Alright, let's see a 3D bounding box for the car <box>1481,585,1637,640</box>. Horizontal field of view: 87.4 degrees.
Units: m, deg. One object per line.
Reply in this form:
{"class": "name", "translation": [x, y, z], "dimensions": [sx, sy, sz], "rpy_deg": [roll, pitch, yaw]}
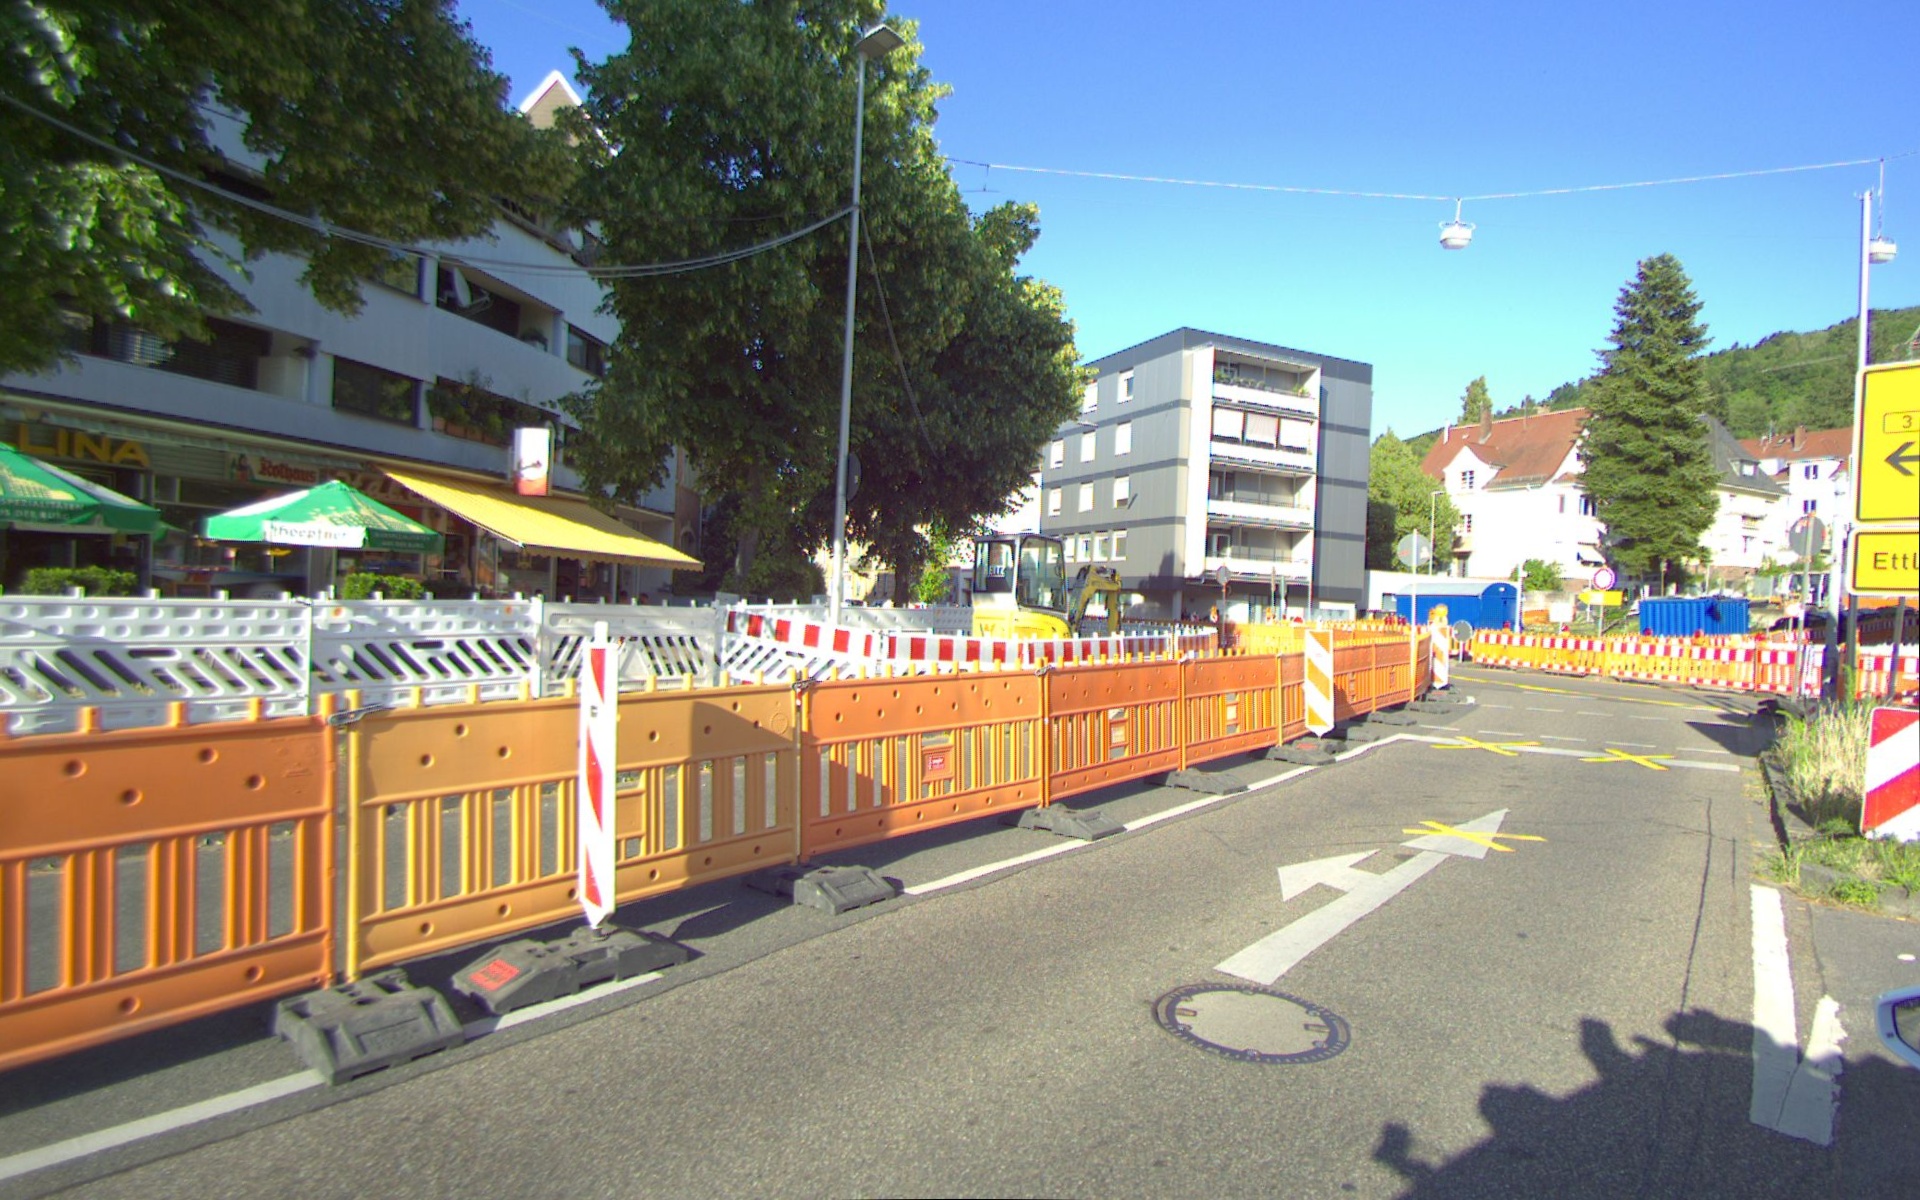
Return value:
{"class": "car", "translation": [25.899, 0.560, 43.458], "dimensions": [6.058, 2.149, 2.580], "rpy_deg": [2, -1, -20]}

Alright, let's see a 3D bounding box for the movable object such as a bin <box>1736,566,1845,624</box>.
{"class": "movable object such as a bin", "translation": [39.001, -0.216, 47.187], "dimensions": [4.482, 2.527, 1.946], "rpy_deg": [2, -1, -20]}

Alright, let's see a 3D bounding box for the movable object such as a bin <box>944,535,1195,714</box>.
{"class": "movable object such as a bin", "translation": [1.746, 0.351, 15.158], "dimensions": [3.894, 2.355, 1.630], "rpy_deg": [1, 0, -44]}
